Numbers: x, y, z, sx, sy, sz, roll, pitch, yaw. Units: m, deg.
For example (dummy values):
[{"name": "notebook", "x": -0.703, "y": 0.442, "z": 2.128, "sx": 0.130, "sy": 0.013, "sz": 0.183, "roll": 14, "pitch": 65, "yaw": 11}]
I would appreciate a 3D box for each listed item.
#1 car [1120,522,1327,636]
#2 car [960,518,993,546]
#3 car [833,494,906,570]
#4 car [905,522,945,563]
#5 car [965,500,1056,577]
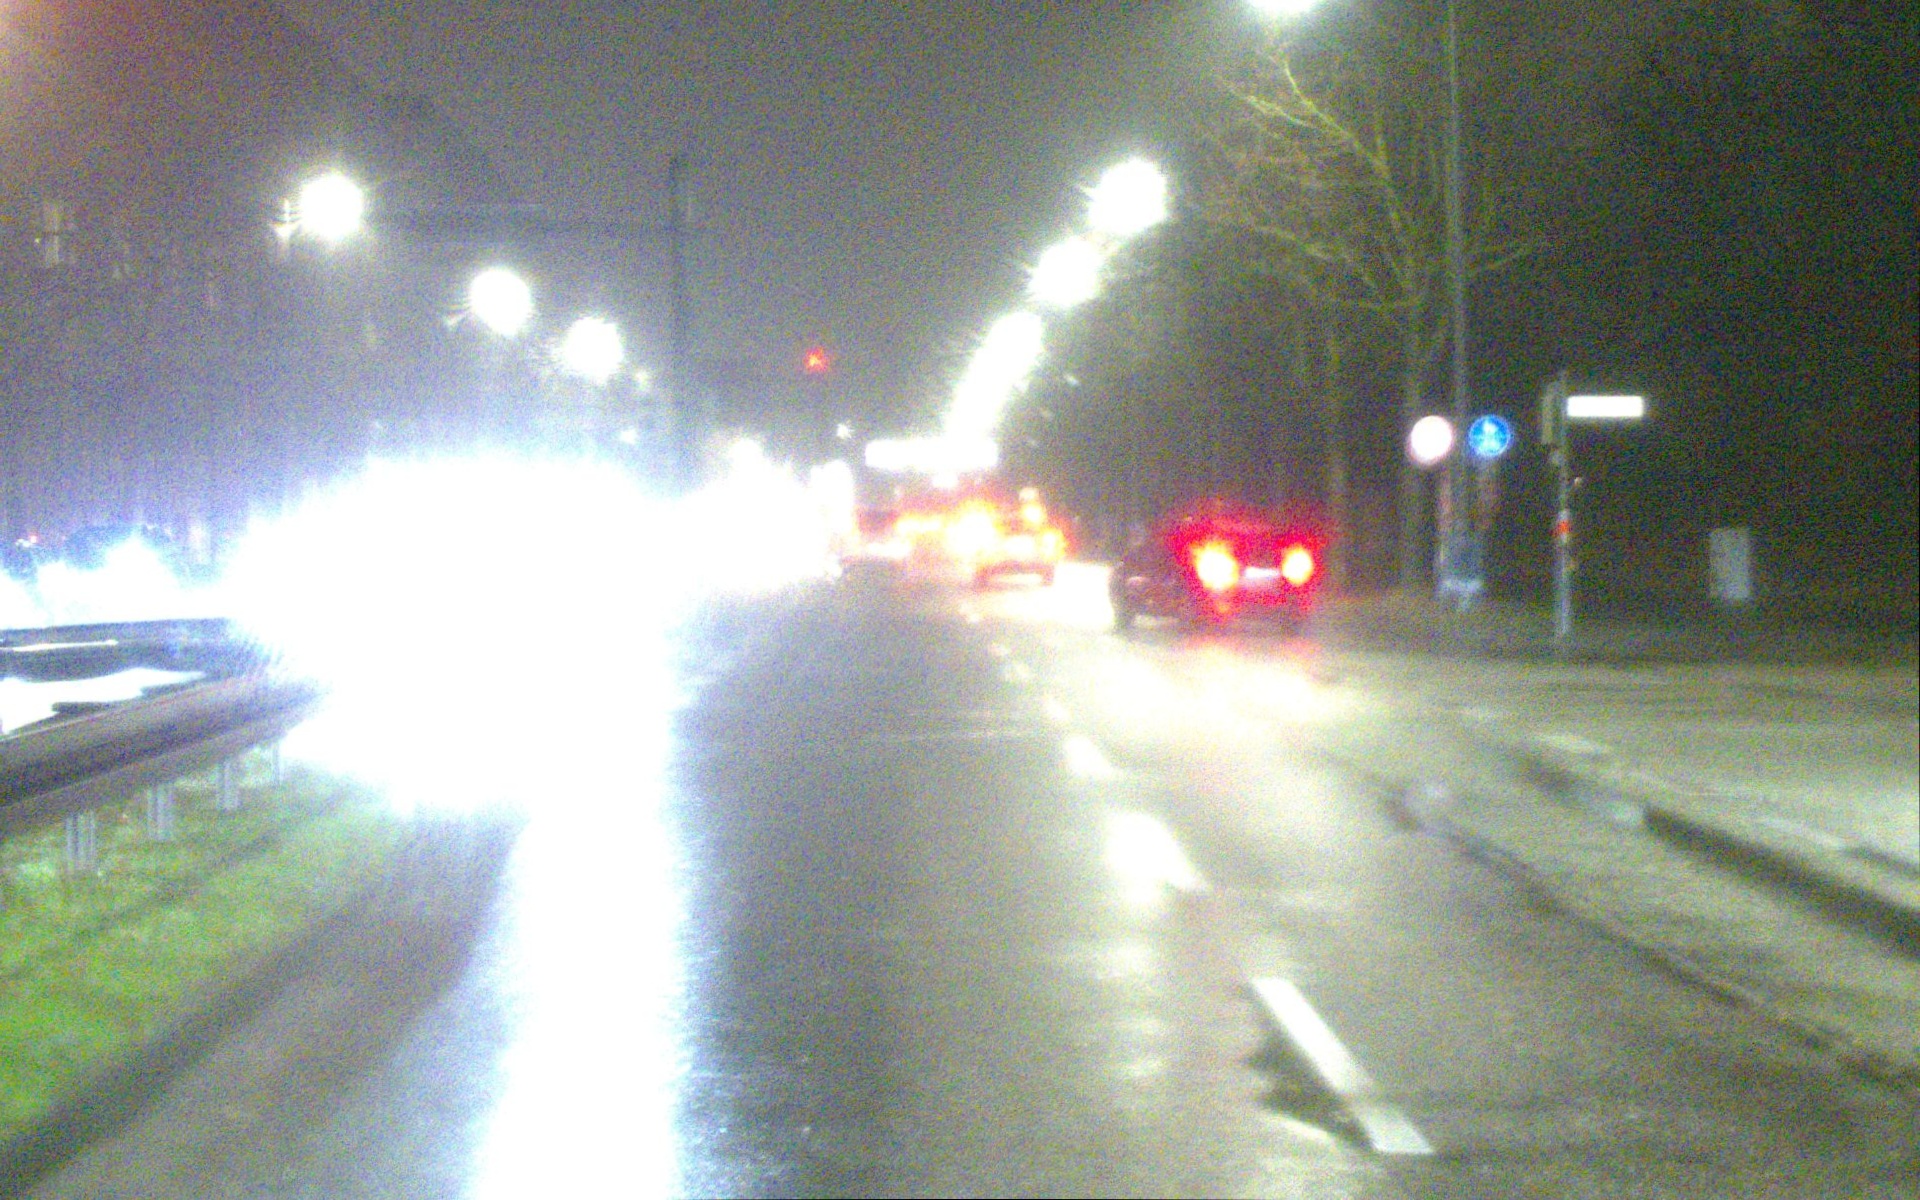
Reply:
[{"name": "car", "x": 3.594, "y": -0.303, "z": 47.582, "sx": 1.790, "sy": 1.482, "sz": 4.155, "roll": 1, "pitch": 1, "yaw": -11}, {"name": "car", "x": 1.045, "y": -4.343, "z": 220.914, "sx": 1.993, "sy": 1.753, "sz": 4.000, "roll": 1, "pitch": 1, "yaw": -1}, {"name": "car", "x": -2.324, "y": -1.734, "z": 88.674, "sx": 1.791, "sy": 1.868, "sz": 4.627, "roll": 1, "pitch": 1, "yaw": -1}, {"name": "car", "x": -1.645, "y": -2.662, "z": 159.884, "sx": 1.791, "sy": 1.868, "sz": 4.627, "roll": 1, "pitch": 1, "yaw": -1}, {"name": "car", "x": 1.136, "y": -1.397, "z": 78.914, "sx": 1.790, "sy": 1.673, "sz": 4.429, "roll": 1, "pitch": 1, "yaw": -3}]
